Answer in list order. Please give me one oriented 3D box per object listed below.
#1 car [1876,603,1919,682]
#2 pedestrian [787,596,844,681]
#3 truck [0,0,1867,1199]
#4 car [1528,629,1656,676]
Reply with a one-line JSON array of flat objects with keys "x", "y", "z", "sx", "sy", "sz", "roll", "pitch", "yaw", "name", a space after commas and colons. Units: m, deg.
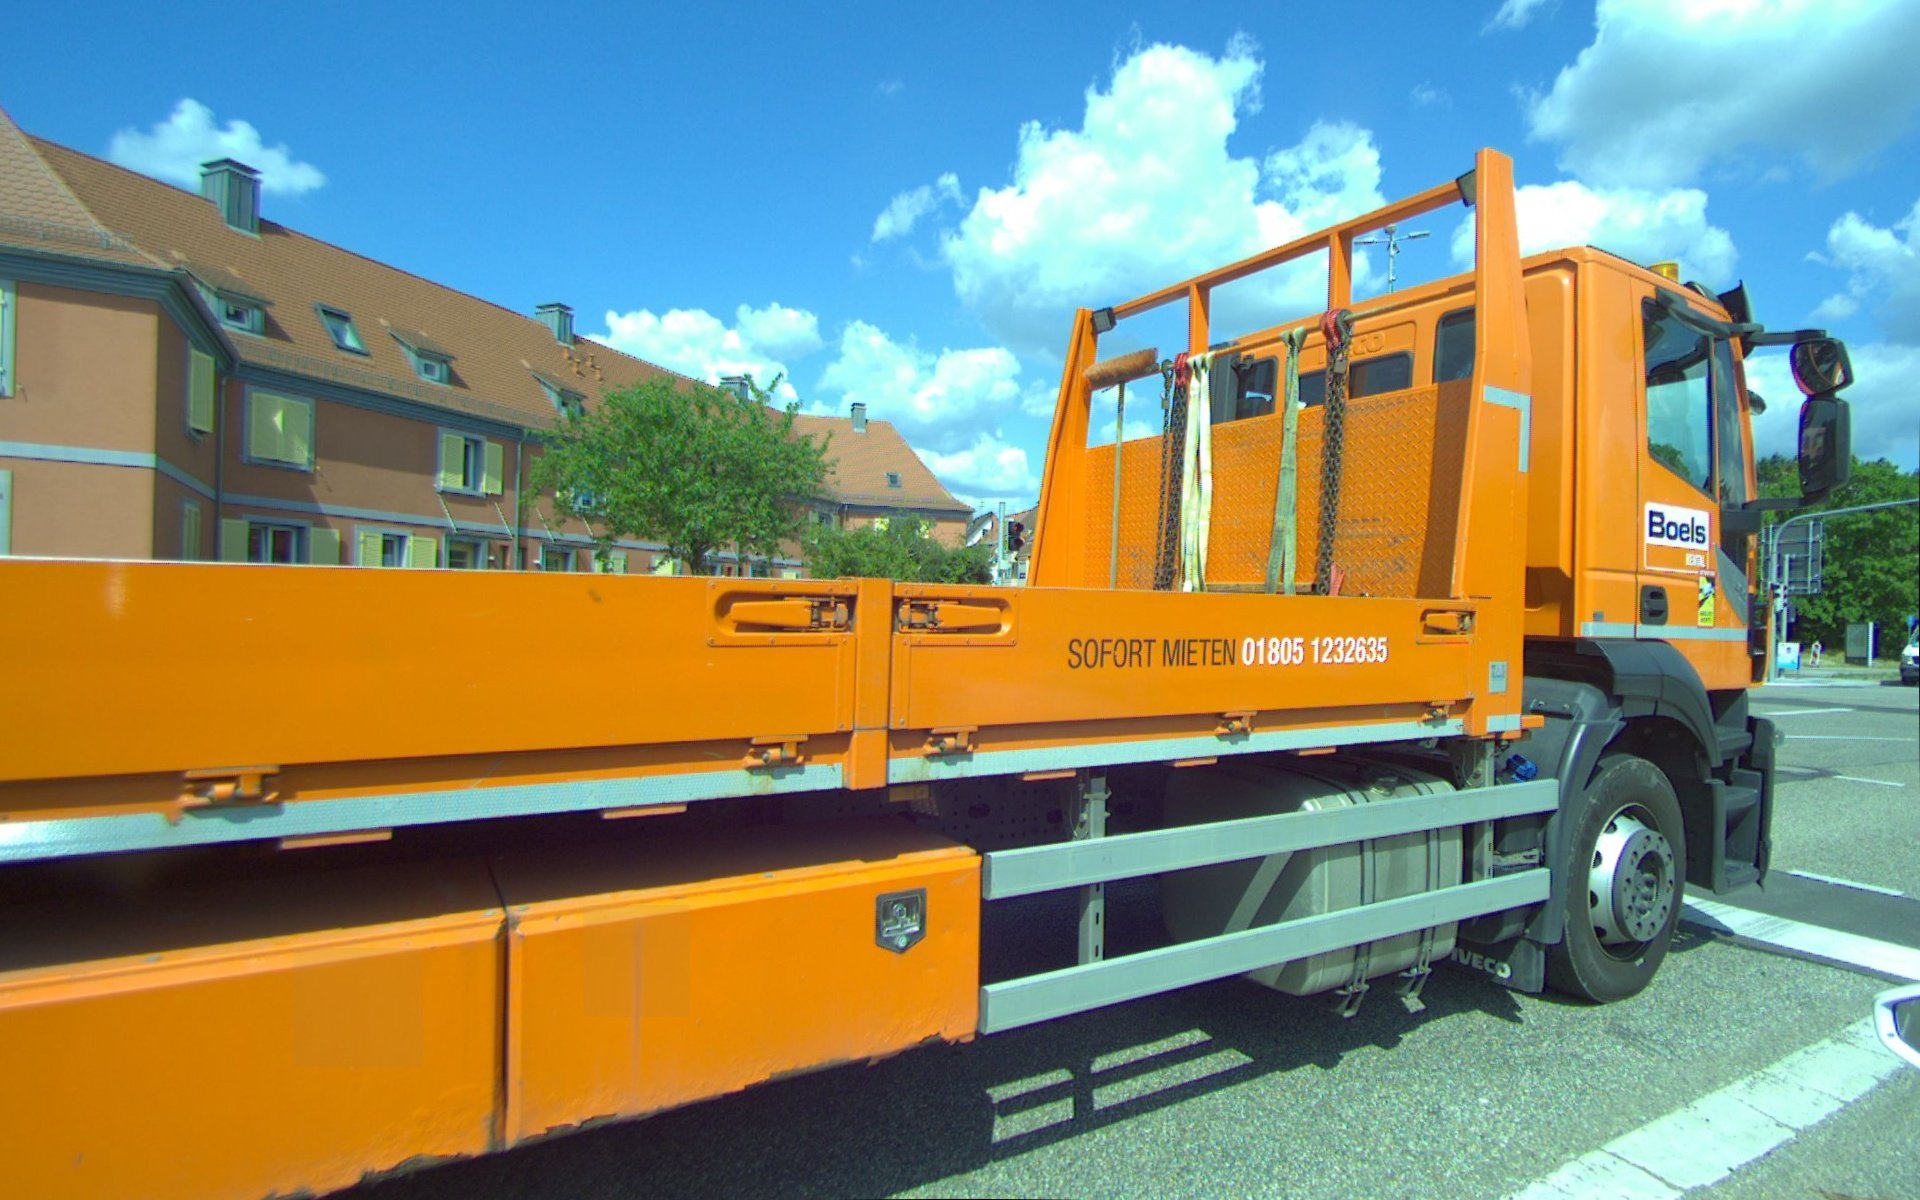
[{"x": 33.482, "y": 1.482, "z": 33.571, "sx": 5.889, "sy": 2.504, "sz": 2.166, "roll": 2, "pitch": 1, "yaw": -26, "name": "car"}, {"x": -2.816, "y": 0.741, "z": 19.560, "sx": 0.842, "sy": 1.604, "sz": 0.692, "roll": 2, "pitch": 1, "yaw": -32, "name": "pedestrian"}, {"x": -1.498, "y": -0.360, "z": 2.767, "sx": 10.948, "sy": 3.459, "sz": 3.053, "roll": 2, "pitch": 1, "yaw": -33, "name": "truck"}, {"x": 25.714, "y": 2.115, "z": 41.010, "sx": 3.919, "sy": 1.550, "sz": 2.001, "roll": 3, "pitch": 1, "yaw": 12, "name": "car"}]
